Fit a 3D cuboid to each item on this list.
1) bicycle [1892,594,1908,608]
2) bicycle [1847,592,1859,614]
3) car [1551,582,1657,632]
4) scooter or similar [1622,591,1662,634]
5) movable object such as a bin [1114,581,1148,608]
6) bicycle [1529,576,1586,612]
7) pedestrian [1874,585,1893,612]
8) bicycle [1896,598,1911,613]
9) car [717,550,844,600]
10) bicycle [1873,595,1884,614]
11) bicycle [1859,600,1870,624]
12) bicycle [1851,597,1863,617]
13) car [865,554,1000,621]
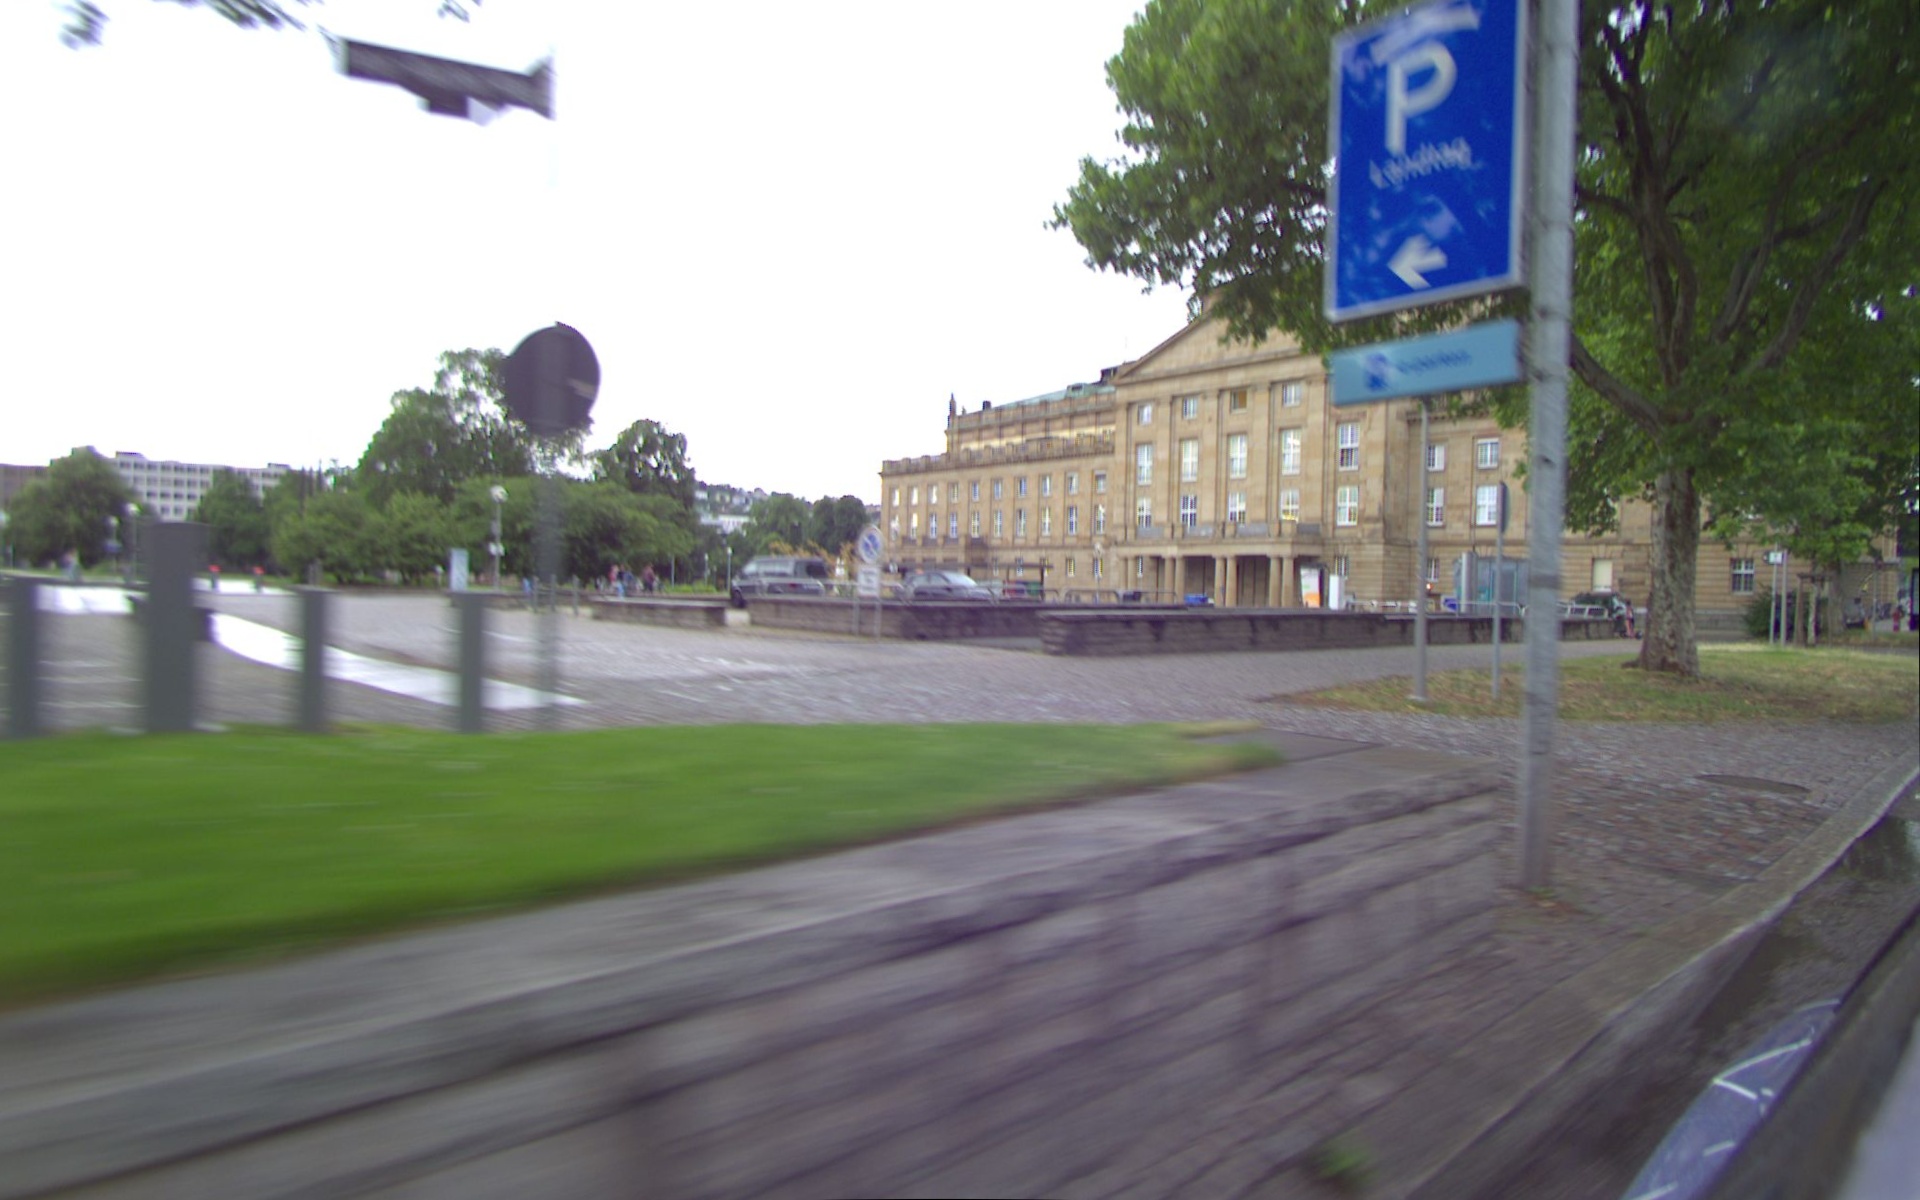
[{"bbox_3d":[73.712,0.059,79.358,1.736,1.063,0.420,-1,1,-31],"label":"bicycle"},{"bbox_3d":[52.564,0.170,59.571,0.453,1.267,1.574,-1,-1,45],"label":"bicycle"},{"bbox_3d":[22.533,0.260,35.322,5.149,1.630,1.995,1,0,-45],"label":"car"},{"bbox_3d":[20.925,0.371,31.075,0.536,1.271,1.430,2,1,15],"label":"scooter or similar"},{"bbox_3d":[9.793,-0.321,58.003,1.227,1.474,1.493,-1,3,-40],"label":"movable object such as a bin"},{"bbox_3d":[29.402,-0.308,49.835,2.313,1.687,0.763,1,2,42],"label":"bicycle"},{"bbox_3d":[62.411,-0.111,68.398,0.631,1.798,0.796,0,4,-43],"label":"pedestrian"},{"bbox_3d":[69.432,0.395,74.498,0.711,1.064,1.715,1,1,41],"label":"bicycle"},{"bbox_3d":[-6.939,-0.968,38.822,2.421,1.786,5.009,0,2,-45],"label":"car"},{"bbox_3d":[60.322,0.289,66.456,0.464,1.230,1.665,1,1,44],"label":"bicycle"},{"bbox_3d":[57.858,0.763,64.750,0.453,1.535,1.574,-1,-1,45],"label":"bicycle"},{"bbox_3d":[52.106,0.415,58.795,1.760,1.093,0.352,-1,4,-45],"label":"bicycle"},{"bbox_3d":[-0.830,-0.401,28.357,1.627,1.619,3.997,0,3,-40],"label":"car"}]
